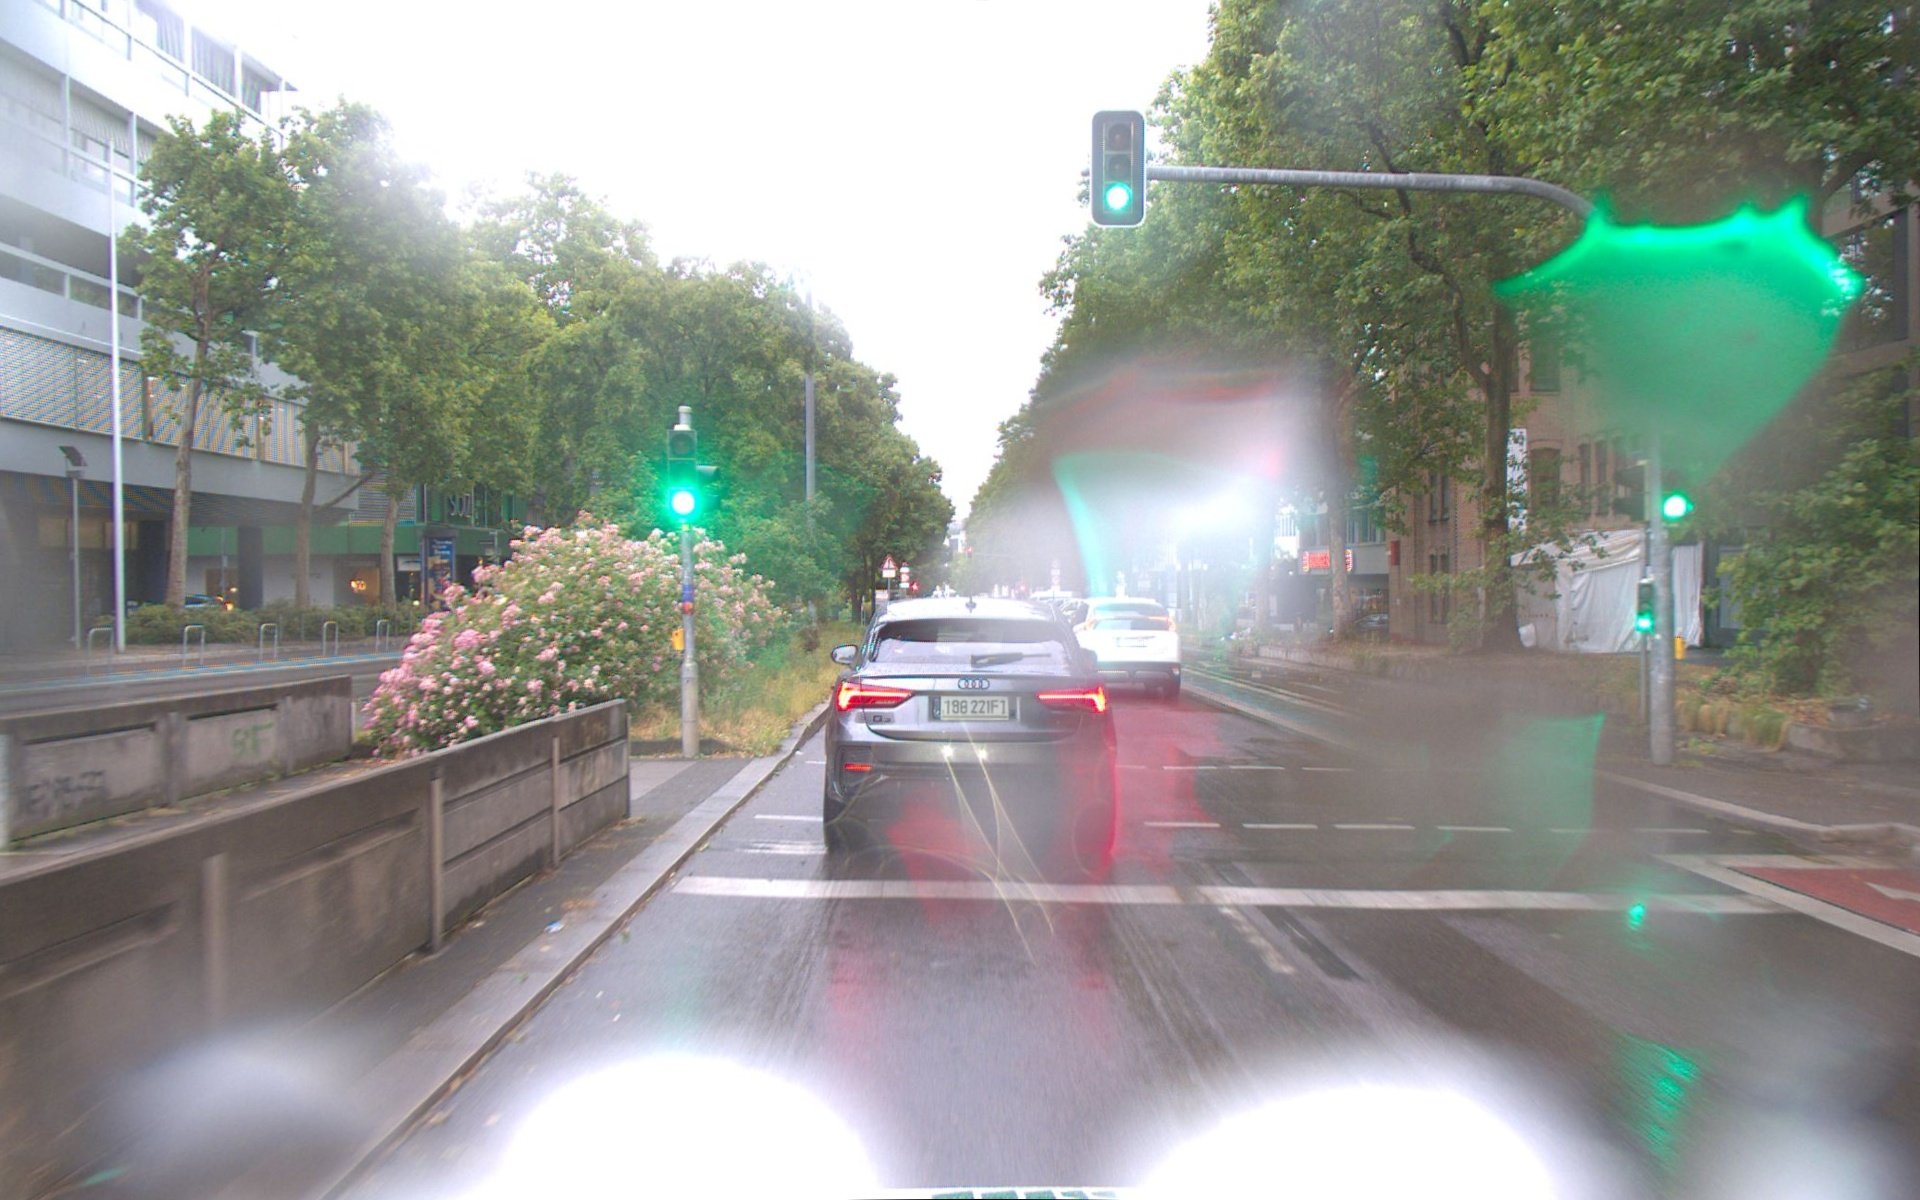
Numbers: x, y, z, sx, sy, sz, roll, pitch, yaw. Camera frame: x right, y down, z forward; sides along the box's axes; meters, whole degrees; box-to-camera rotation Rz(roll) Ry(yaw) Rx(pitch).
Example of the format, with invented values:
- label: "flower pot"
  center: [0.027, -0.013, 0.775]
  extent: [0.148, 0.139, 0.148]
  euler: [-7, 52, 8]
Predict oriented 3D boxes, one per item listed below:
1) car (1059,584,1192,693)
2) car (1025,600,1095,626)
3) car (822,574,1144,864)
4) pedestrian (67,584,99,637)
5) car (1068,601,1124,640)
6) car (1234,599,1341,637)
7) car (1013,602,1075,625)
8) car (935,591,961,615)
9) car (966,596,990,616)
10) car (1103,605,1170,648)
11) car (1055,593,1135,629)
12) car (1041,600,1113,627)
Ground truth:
- label: "car"
  center: [2.834, 0.653, 29.061]
  extent: [1.840, 1.727, 3.999]
  euler: [1, -1, -1]
- label: "car"
  center: [7.175, 0.905, 118.318]
  extent: [4.548, 1.736, 1.998]
  euler: [1, -1, 27]
- label: "car"
  center: [0.072, 0.682, 11.353]
  extent: [1.812, 1.630, 3.998]
  euler: [1, 0, -2]
- label: "pedestrian"
  center: [-25.706, 0.310, 48.468]
  extent: [0.597, 1.508, 0.574]
  euler: [1, -1, -4]
- label: "car"
  center: [5.819, 0.872, 71.237]
  extent: [1.694, 1.599, 4.069]
  euler: [1, -1, -5]
- label: "car"
  center: [9.906, 0.547, 50.039]
  extent: [2.830, 1.093, 1.452]
  euler: [1, -1, 30]
- label: "car"
  center: [6.692, 1.096, 132.034]
  extent: [4.548, 1.736, 1.998]
  euler: [1, -1, 27]
- label: "car"
  center: [-0.984, 0.259, 130.531]
  extent: [1.953, 1.757, 3.998]
  euler: [1, -1, -1]
- label: "car"
  center: [1.564, 0.538, 142.297]
  extent: [1.953, 1.680, 3.999]
  euler: [1, -1, -1]
- label: "car"
  center: [6.352, 0.926, 59.859]
  extent: [1.835, 1.446, 4.610]
  euler: [1, 0, -1]
- label: "car"
  center: [8.191, 0.654, 100.636]
  extent: [4.517, 2.049, 1.959]
  euler: [1, -1, 38]
- label: "car"
  center: [8.082, 0.909, 114.706]
  extent: [4.548, 1.736, 1.998]
  euler: [1, -1, 27]
